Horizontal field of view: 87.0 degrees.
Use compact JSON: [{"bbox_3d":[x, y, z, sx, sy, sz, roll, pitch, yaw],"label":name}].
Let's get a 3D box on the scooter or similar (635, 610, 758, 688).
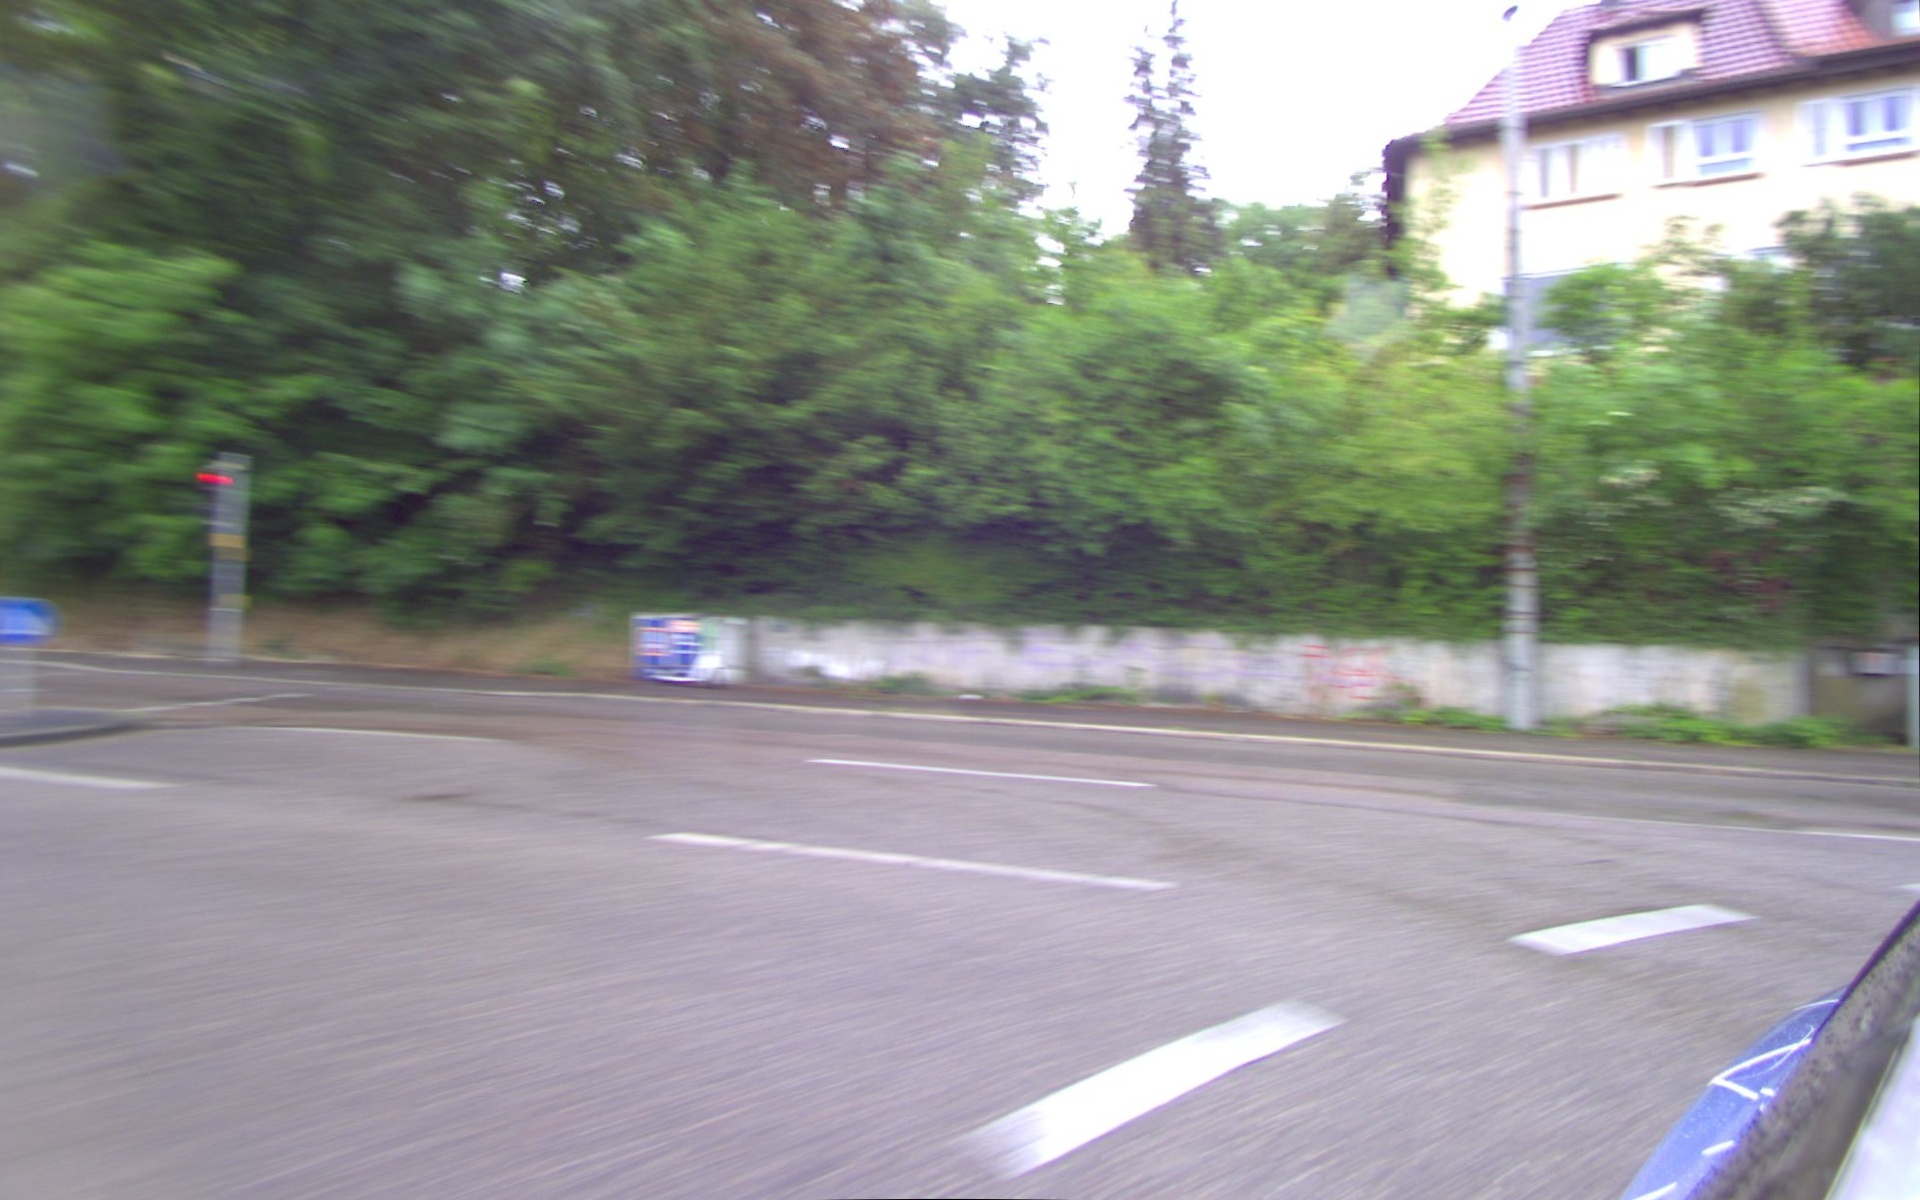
[{"bbox_3d":[-4.051,0.736,15.568,1.746,1.089,0.600,2,-2,19],"label":"scooter or similar"}]
